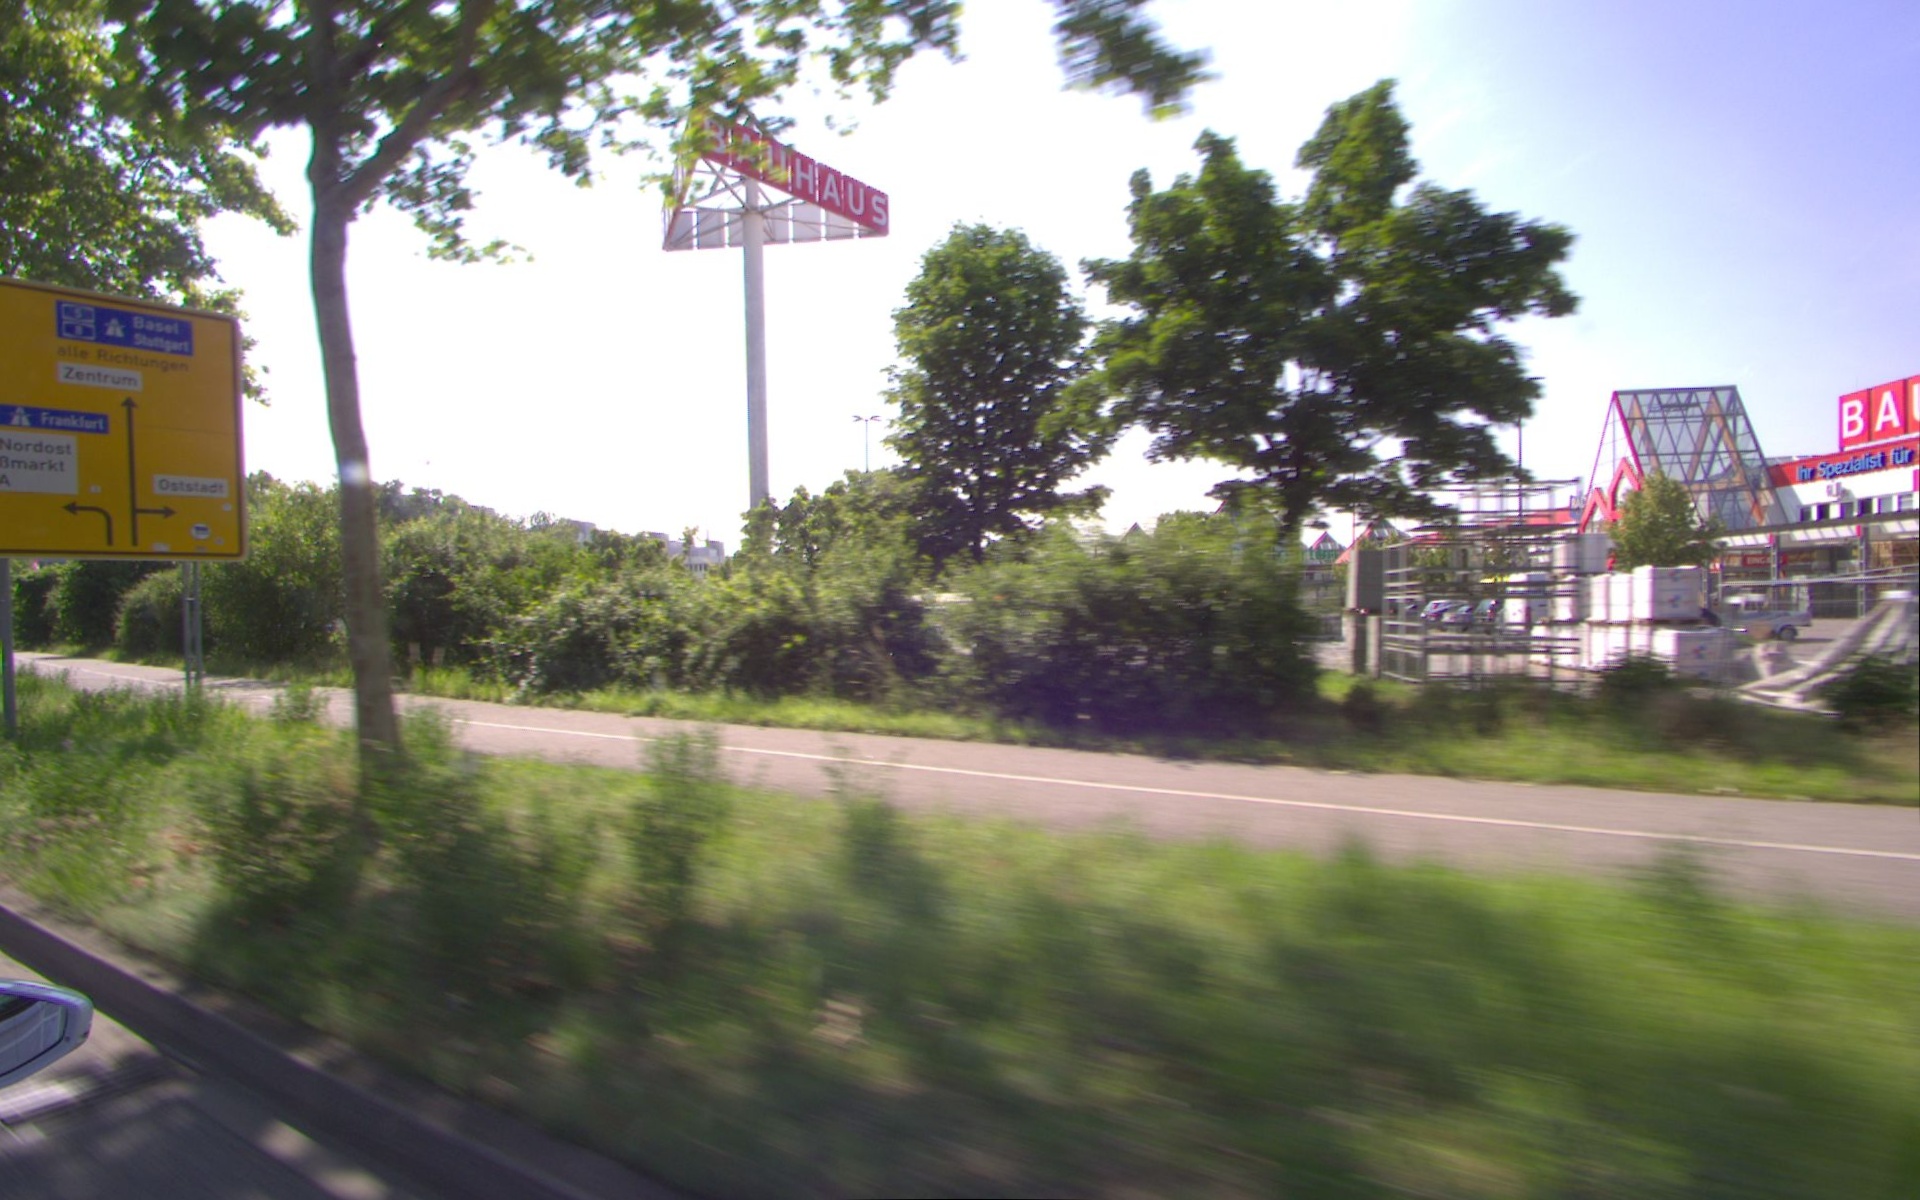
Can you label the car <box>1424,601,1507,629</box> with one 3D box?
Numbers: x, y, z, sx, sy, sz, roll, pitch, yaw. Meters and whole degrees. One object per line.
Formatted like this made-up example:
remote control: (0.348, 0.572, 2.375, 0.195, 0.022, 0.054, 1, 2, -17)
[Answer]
car: (26.562, 0.788, 52.679, 3.549, 1.397, 1.570, 0, -1, 6)
